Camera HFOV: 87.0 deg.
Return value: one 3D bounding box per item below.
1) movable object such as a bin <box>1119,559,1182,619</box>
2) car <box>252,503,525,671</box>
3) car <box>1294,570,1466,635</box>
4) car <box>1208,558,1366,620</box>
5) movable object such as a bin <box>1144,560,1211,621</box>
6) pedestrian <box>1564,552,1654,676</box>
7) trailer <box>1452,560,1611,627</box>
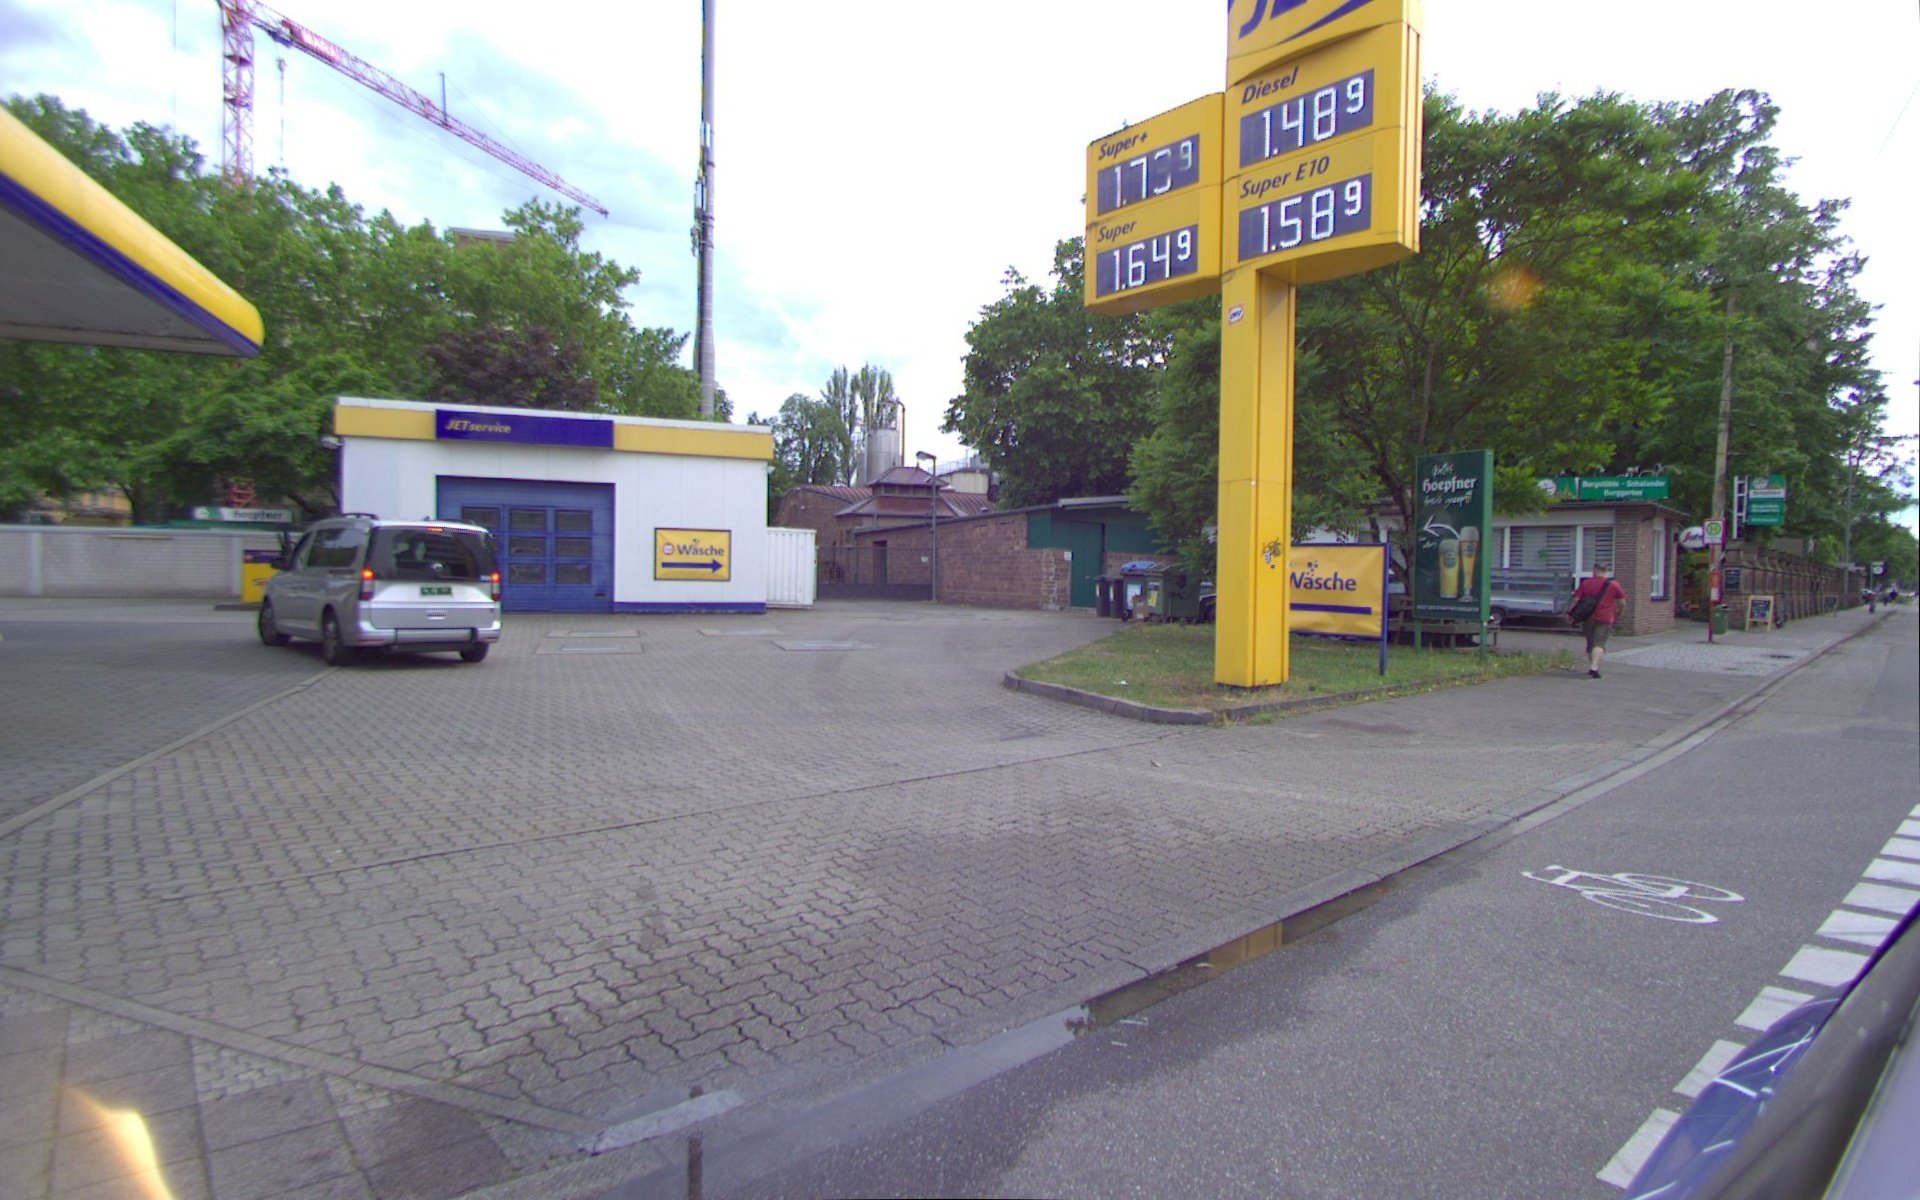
[{"bbox_3d":[4.481,-0.276,23.883,1.136,1.375,1.123,0,1,-10],"label":"movable object such as a bin"},{"bbox_3d":[-7.749,-0.299,13.506,4.515,1.865,1.956,5,4,44],"label":"car"},{"bbox_3d":[9.343,0.000,22.391,3.931,1.304,1.997,-1,1,-41],"label":"car"},{"bbox_3d":[9.523,-0.328,29.688,1.967,1.687,3.990,-1,1,-44],"label":"car"},{"bbox_3d":[4.860,-0.224,22.681,1.136,1.336,1.123,0,1,-10],"label":"movable object such as a bin"},{"bbox_3d":[9.782,0.184,15.306,0.859,1.768,0.846,4,4,20],"label":"pedestrian"},{"bbox_3d":[15.102,-0.230,26.827,1.745,1.549,3.286,-4,5,-44],"label":"trailer"}]
